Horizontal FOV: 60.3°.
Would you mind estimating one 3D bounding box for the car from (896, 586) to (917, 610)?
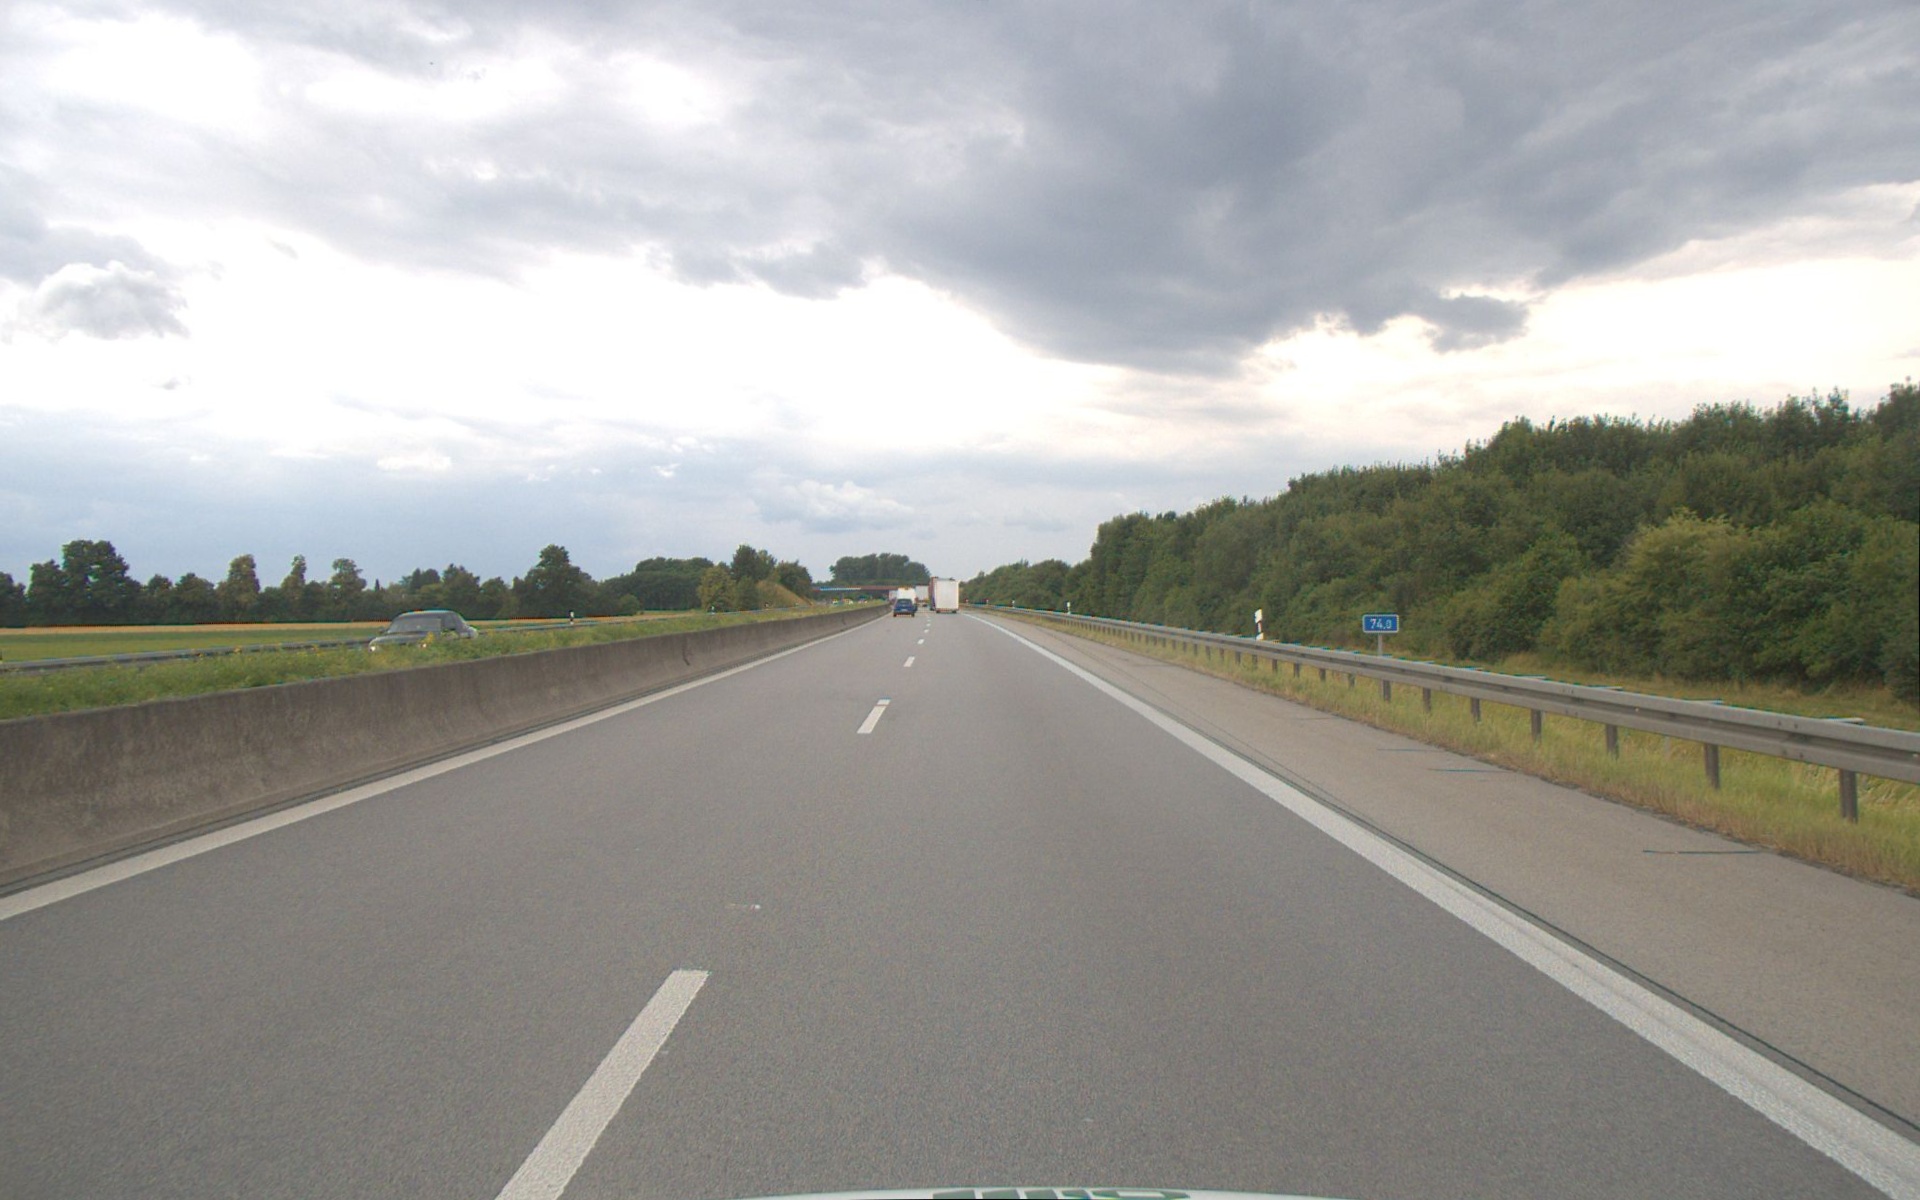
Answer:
[{"bbox_3d":[-5.594,-0.185,173.673,2.087,2.526,5.838,-1,0,-1],"label":"car"}]

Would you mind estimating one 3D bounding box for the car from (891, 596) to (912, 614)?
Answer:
[{"bbox_3d":[-4.670,0.416,131.234,1.630,1.432,3.646,0,0,-3],"label":"car"}]

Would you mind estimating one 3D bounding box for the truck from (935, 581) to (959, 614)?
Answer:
[{"bbox_3d":[-1.329,-0.247,166.737,2.366,3.279,7.141,0,-1,-1],"label":"truck"}]

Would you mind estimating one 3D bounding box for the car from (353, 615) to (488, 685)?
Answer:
[{"bbox_3d":[-13.203,1.185,40.763,1.753,1.498,4.904,-2,0,-1],"label":"car"}]
